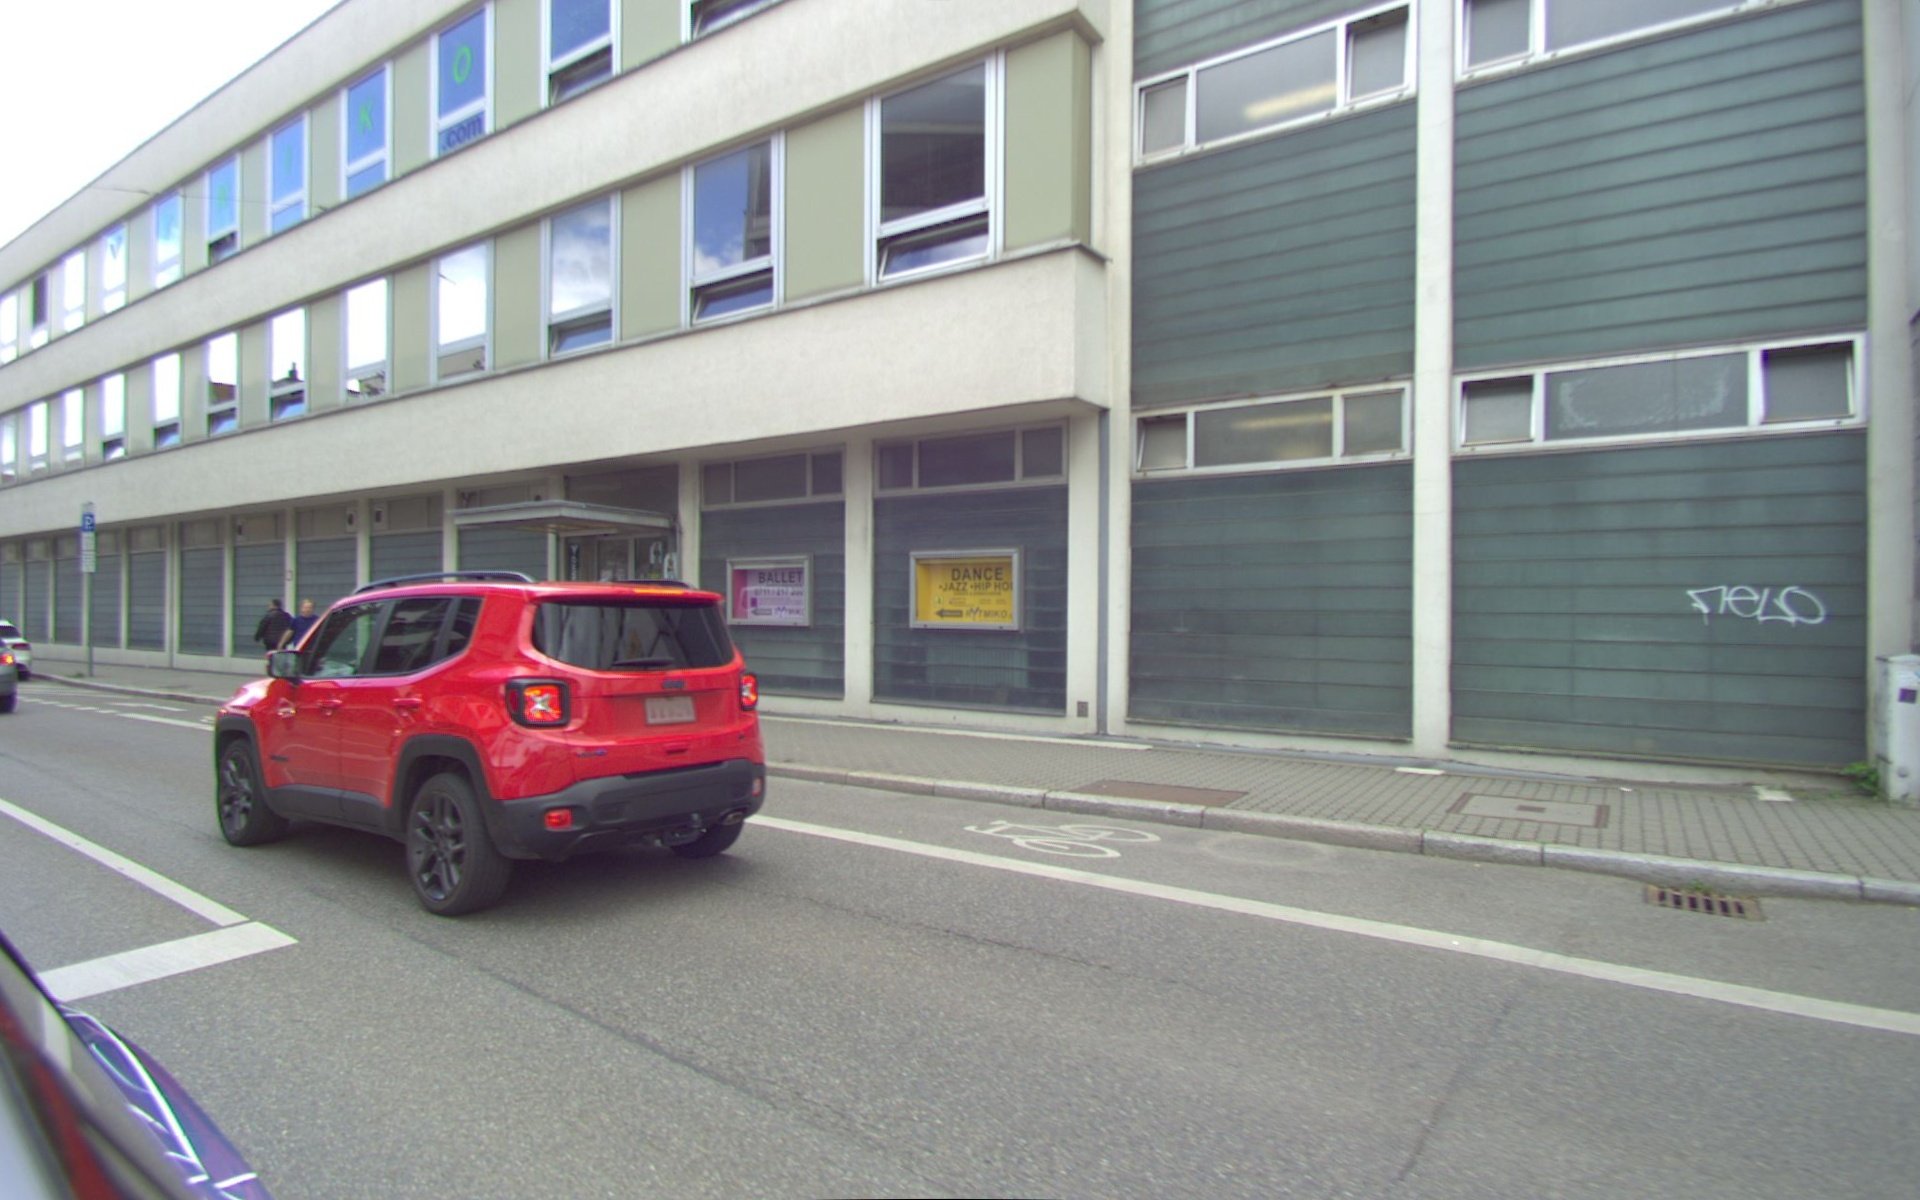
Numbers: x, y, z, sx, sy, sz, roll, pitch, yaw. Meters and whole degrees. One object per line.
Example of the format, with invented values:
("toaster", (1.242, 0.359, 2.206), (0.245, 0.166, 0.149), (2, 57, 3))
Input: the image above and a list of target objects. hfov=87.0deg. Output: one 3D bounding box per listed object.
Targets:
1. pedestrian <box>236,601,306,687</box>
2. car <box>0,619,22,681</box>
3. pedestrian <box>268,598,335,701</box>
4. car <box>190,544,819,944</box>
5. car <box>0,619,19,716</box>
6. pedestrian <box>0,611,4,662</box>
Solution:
("pedestrian", (-14.328, 0.889, 21.062), (1.028, 1.731, 0.855), (-1, 0, 32))
("car", (-24.535, 1.172, 24.630), (4.544, 1.445, 1.655), (-1, -3, 37))
("pedestrian", (-11.452, 0.849, 17.603), (1.052, 1.731, 0.585), (-1, -2, 33))
("car", (-2.903, 0.659, 6.195), (3.888, 1.707, 1.784), (-1, -2, 35))
("car", (-16.572, 1.043, 16.043), (3.911, 1.477, 1.643), (-1, -2, 35))
("pedestrian", (-32.671, 1.228, 33.940), (0.641, 1.731, 0.591), (0, -1, 1))
